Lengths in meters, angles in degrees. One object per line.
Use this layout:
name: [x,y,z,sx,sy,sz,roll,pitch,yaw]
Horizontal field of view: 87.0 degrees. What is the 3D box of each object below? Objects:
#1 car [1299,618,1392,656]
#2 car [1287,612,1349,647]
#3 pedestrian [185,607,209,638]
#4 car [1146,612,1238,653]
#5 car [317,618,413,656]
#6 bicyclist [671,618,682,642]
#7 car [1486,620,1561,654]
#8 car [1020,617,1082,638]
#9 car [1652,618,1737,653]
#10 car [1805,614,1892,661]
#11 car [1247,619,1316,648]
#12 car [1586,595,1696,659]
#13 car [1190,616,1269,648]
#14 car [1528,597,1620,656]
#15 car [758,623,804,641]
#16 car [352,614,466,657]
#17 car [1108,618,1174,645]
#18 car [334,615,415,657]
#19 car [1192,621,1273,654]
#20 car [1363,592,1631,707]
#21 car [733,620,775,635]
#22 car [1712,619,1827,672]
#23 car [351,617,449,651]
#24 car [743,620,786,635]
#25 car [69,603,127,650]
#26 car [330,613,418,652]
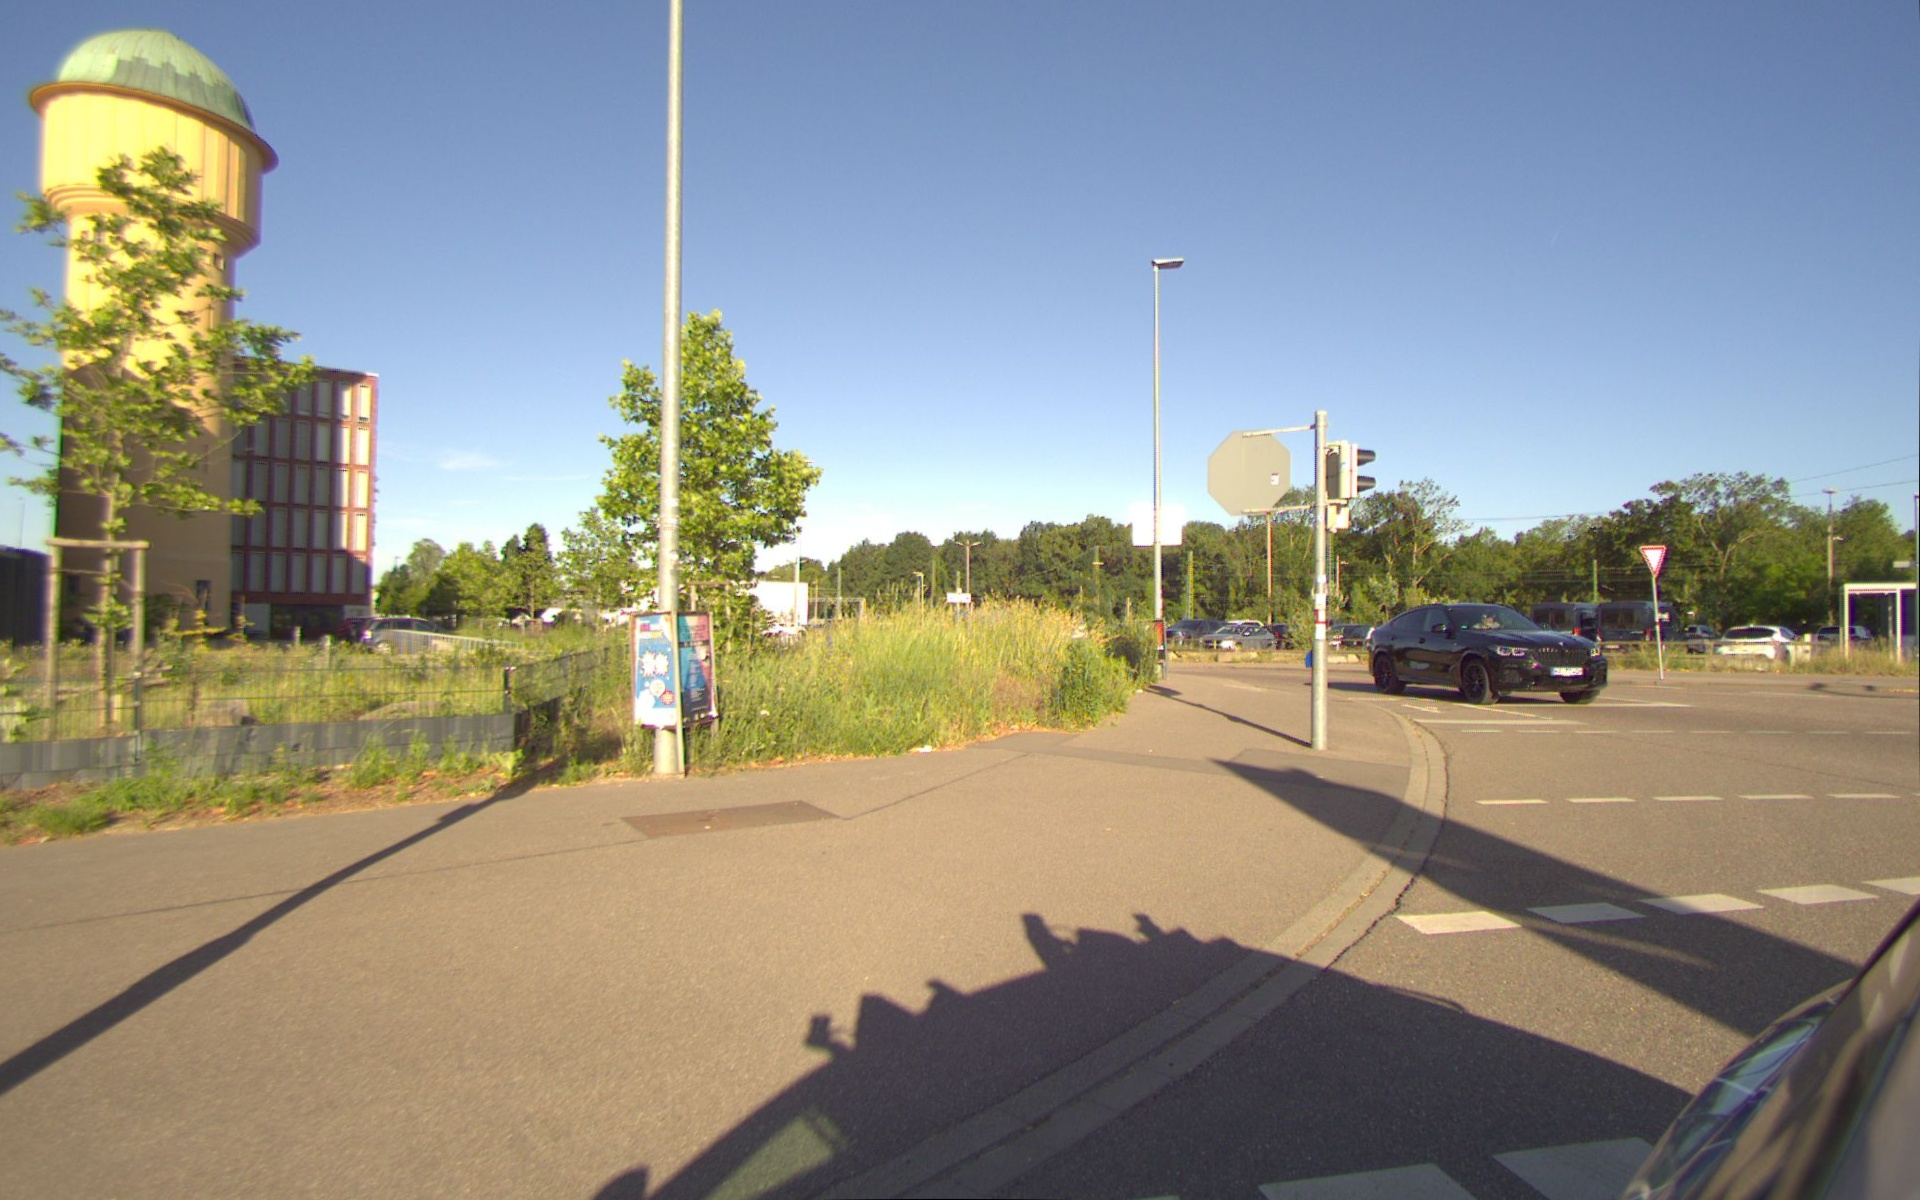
car: [16.117,1.525,42.245,3.925,1.535,1.854,1,-2,-37]
car: [19.753,1.602,55.765,3.718,1.756,1.766,-1,-1,-44]
pedestrian: [-46.708,1.388,61.936,0.963,1.887,0.886,-1,-1,31]
car: [11.215,1.591,48.793,4.455,1.766,2.066,4,-4,-39]
car: [-33.147,2.051,56.451,4.446,2.040,1.999,1,-2,-36]
bicyclist: [-22.784,2.436,81.324,0.558,1.895,0.853,1,-2,-37]
car: [26.680,1.723,47.900,3.682,1.527,1.832,1,-2,-38]
car: [6.449,1.951,71.766,4.367,1.462,1.867,1,-2,-40]
car: [33.595,1.614,46.265,4.124,1.518,1.985,1,-2,-37]
car: [36.932,1.530,42.035,4.126,1.832,1.984,0,-2,-39]
car: [18.367,1.873,57.701,3.871,1.506,1.889,0,-1,-38]
car: [28.872,1.132,42.867,5.413,2.549,2.398,1,-2,-40]
car: [15.932,1.887,59.716,4.613,1.716,2.039,-1,-1,-36]
car: [27.148,1.157,44.734,4.401,2.499,2.126,1,-2,-40]
car: [-18.496,3.273,104.746,4.368,1.802,1.866,1,-2,-41]
car: [-24.753,1.585,45.541,4.252,1.852,1.999,1,-2,-37]
car: [11.725,2.045,65.535,4.128,1.610,1.984,-1,-1,-40]
car: [-30.168,1.832,52.153,3.419,2.048,1.835,1,-2,-37]
car: [12.591,1.703,46.647,3.857,1.472,1.835,1,-2,-42]
car: [9.172,0.786,17.872,2.009,1.736,4.752,-1,-1,-2]
car: [-22.045,2.926,108.138,4.087,1.506,1.762,0,-1,-43]
car: [25.236,1.367,31.511,4.196,1.530,1.889,1,-2,-39]
car: [-26.611,1.599,48.093,3.922,1.570,1.834,1,-2,-34]
car: [-20.471,2.879,106.183,4.088,1.505,1.758,0,-1,-42]
car: [-44.056,1.353,51.801,1.834,2.293,4.935,1,-2,-36]
car: [-31.256,1.711,53.998,3.922,2.006,2.000,1,-2,-34]
